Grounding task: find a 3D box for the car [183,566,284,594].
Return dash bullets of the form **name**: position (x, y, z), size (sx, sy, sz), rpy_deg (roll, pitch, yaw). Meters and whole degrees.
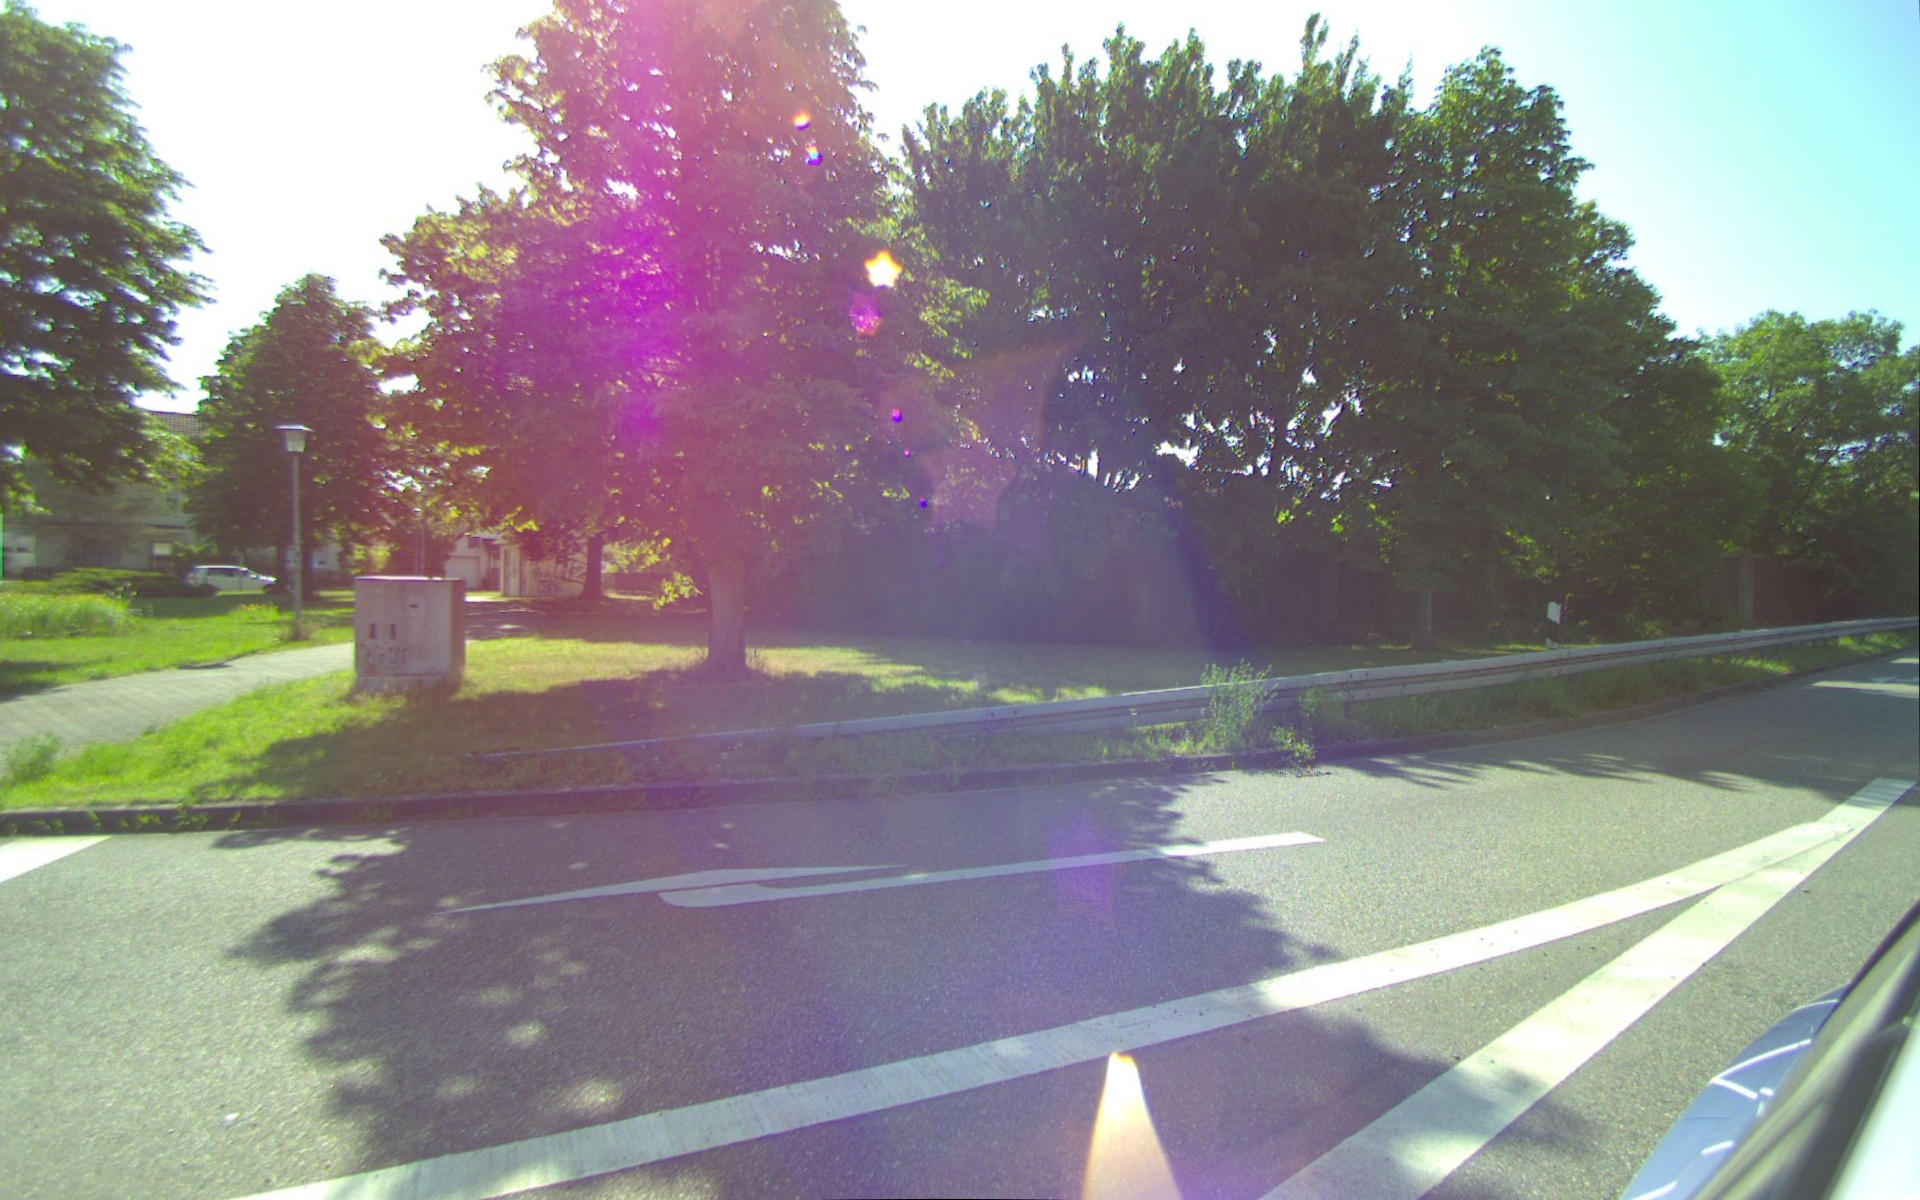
- **car**: position (-35.415, -0.981, 49.381), size (3.927, 1.304, 1.732), rpy_deg (-1, 2, -38)
